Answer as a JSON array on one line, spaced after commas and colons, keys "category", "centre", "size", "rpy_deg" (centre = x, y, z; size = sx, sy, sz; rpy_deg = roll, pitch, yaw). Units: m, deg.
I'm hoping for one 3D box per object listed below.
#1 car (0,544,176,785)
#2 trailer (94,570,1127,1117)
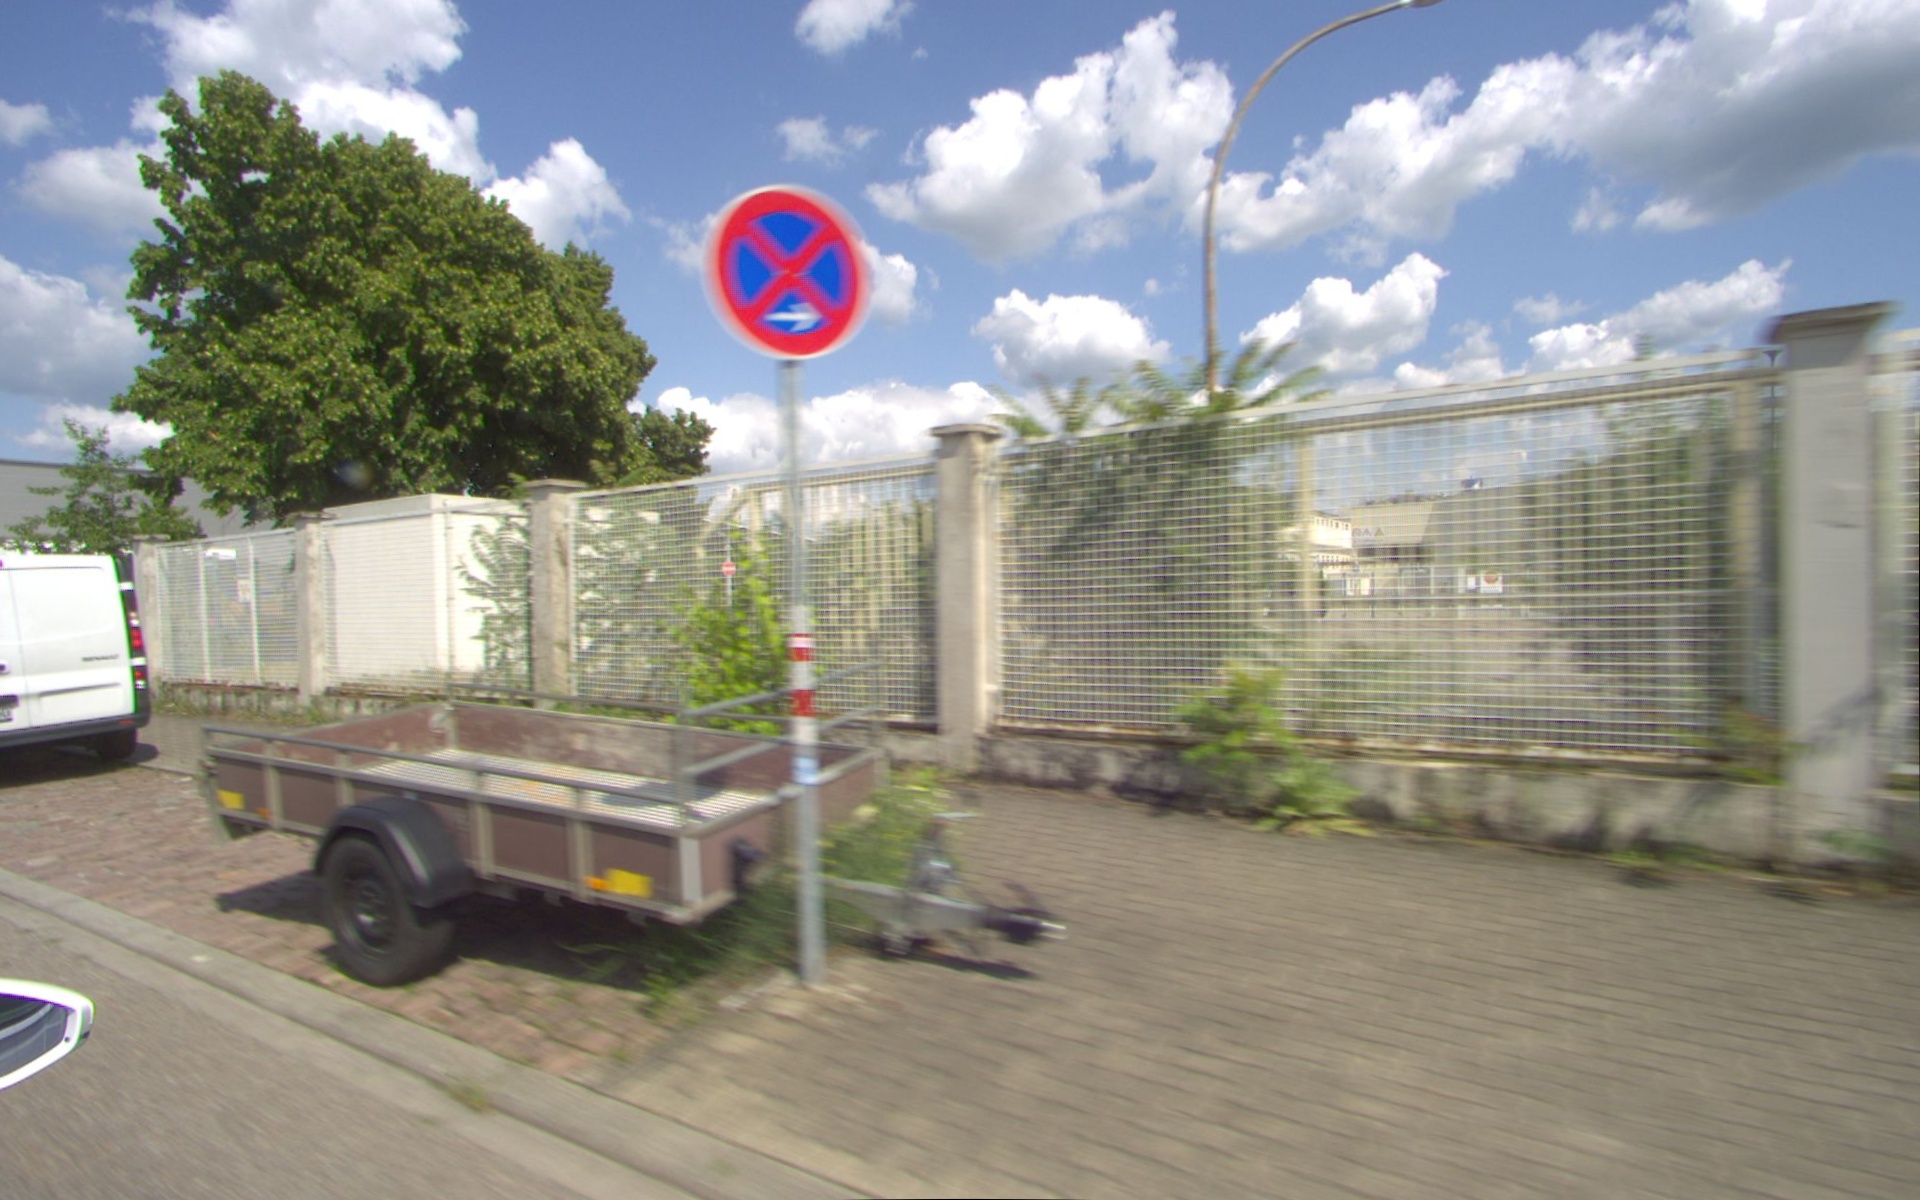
[{"category": "car", "centre": [-10.367, 0.601, 10.192], "size": [5.570, 2.041, 1.988], "rpy_deg": [-1, 1, 33]}, {"category": "trailer", "centre": [-1.694, 0.716, 4.523], "size": [4.479, 1.437, 1.746], "rpy_deg": [-2, 3, 28]}]
